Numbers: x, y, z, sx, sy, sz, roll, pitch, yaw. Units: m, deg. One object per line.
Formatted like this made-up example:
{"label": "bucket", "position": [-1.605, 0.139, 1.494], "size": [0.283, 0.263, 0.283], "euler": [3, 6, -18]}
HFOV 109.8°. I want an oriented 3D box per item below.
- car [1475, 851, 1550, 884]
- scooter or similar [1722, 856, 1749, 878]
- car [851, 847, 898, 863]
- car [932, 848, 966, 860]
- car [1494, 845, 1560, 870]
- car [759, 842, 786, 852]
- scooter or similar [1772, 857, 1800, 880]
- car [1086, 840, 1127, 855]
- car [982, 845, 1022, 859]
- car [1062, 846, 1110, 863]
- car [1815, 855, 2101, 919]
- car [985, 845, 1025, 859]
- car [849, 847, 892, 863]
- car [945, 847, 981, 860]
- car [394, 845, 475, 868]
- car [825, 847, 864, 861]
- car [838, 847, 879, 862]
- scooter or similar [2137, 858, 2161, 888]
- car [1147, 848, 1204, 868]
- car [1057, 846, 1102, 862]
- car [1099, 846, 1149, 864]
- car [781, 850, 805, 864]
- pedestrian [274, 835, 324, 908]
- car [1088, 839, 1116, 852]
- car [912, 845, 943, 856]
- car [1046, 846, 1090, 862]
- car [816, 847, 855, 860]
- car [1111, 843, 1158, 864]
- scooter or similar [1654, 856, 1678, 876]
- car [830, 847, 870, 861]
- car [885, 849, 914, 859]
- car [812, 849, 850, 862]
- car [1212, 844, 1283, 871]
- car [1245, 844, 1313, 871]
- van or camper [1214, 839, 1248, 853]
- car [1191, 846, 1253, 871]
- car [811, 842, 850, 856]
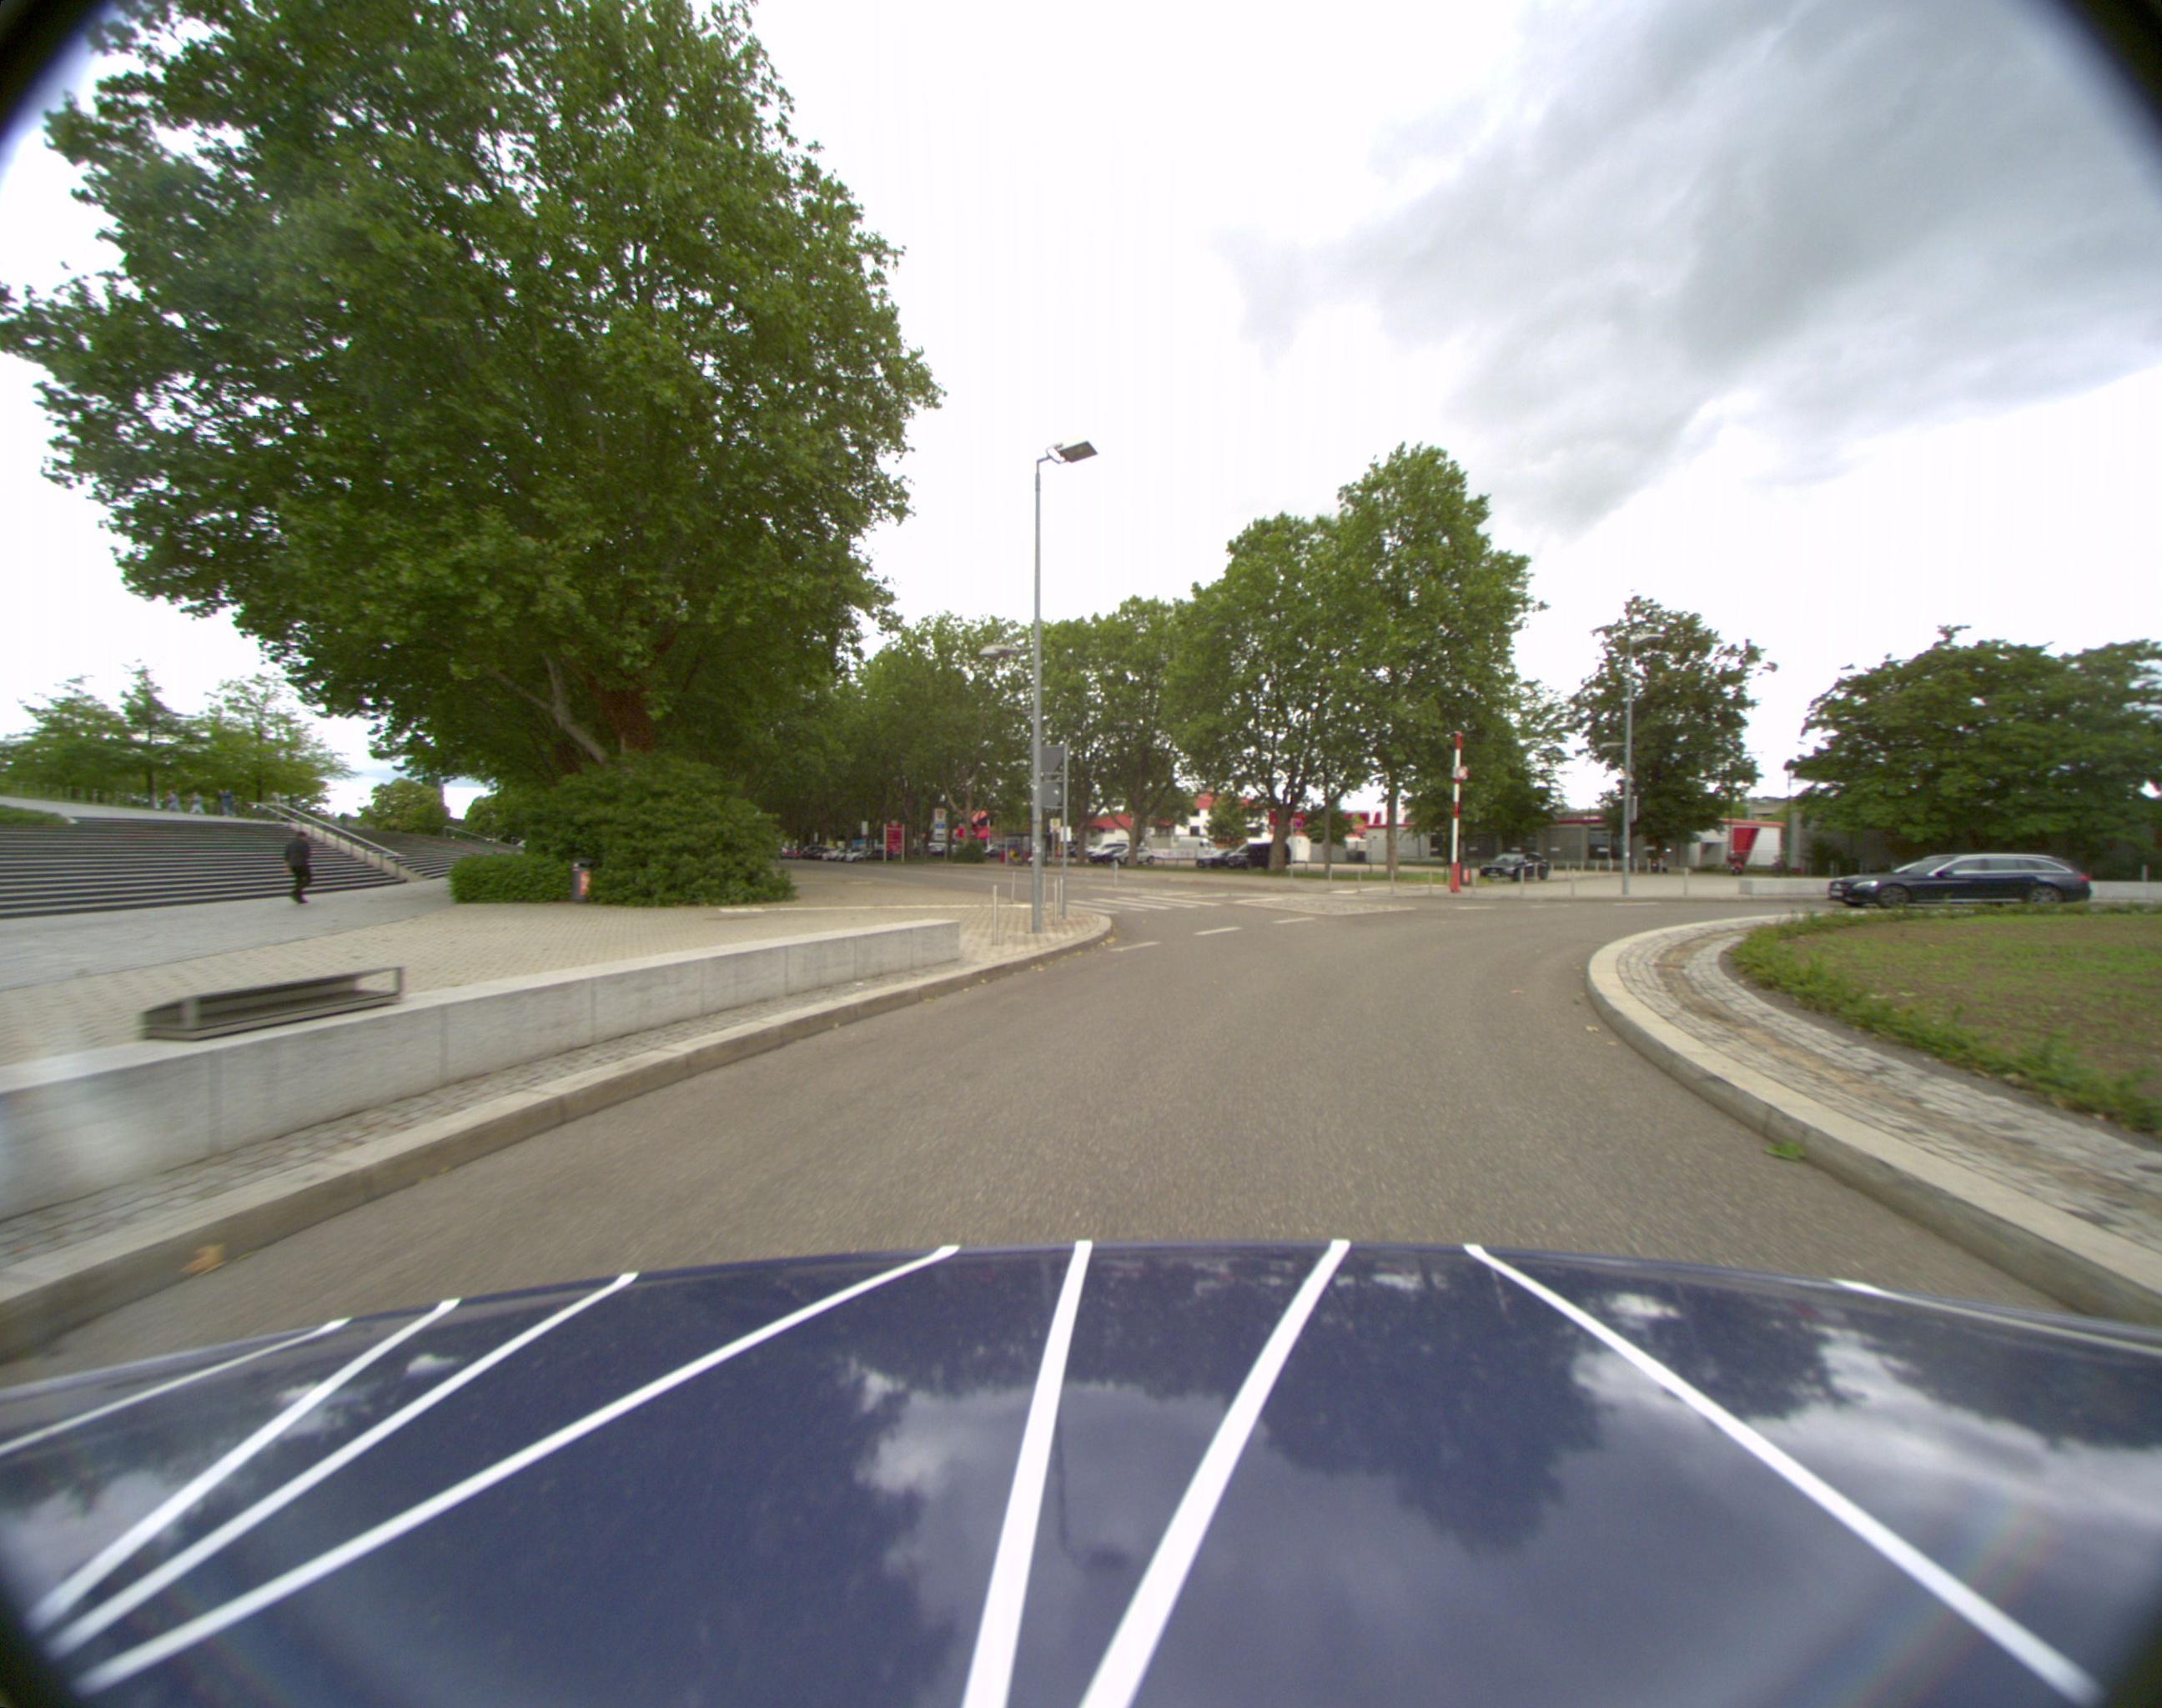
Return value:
{"label": "car", "position": [21.572, 0.648, 37.950], "size": [3.832, 1.516, 1.775], "euler": [-1, 1, -34]}
{"label": "scooter or similar", "position": [34.757, 0.699, 40.342], "size": [1.979, 1.103, 0.639], "euler": [-1, 1, -35]}
{"label": "car", "position": [-20.674, 0.099, 76.081], "size": [4.182, 1.510, 1.868], "euler": [-1, 1, -25]}
{"label": "car", "position": [-17.395, 0.032, 99.861], "size": [4.012, 1.510, 1.868], "euler": [-1, 1, -24]}
{"label": "car", "position": [30.955, 0.220, 52.893], "size": [1.796, 1.642, 4.435], "euler": [-1, 0, -4]}
{"label": "car", "position": [-49.693, -1.181, 122.449], "size": [4.012, 1.510, 1.868], "euler": [-1, 1, -25]}
{"label": "scooter or similar", "position": [35.713, 0.699, 38.487], "size": [1.979, 1.103, 0.639], "euler": [-1, 1, -35]}
{"label": "car", "position": [2.968, -0.736, 88.036], "size": [4.445, 1.642, 1.792], "euler": [-1, 1, -35]}
{"label": "car", "position": [-8.978, -0.258, 86.342], "size": [4.012, 1.510, 1.868], "euler": [-1, 1, -24]}
{"label": "car", "position": [0.463, 0.013, 70.256], "size": [4.012, 1.510, 1.868], "euler": [-1, 1, -26]}
{"label": "car", "position": [23.144, 0.825, 20.317], "size": [4.717, 1.555, 1.799], "euler": [-1, 1, 21]}
{"label": "car", "position": [-8.404, -0.221, 83.822], "size": [4.012, 1.510, 1.868], "euler": [-1, 1, -24]}
{"label": "car", "position": [-21.692, 0.081, 78.178], "size": [4.012, 1.510, 1.868], "euler": [-1, 1, -25]}
{"label": "car", "position": [-14.679, -0.091, 94.337], "size": [4.012, 1.510, 1.868], "euler": [-1, 1, -24]}
{"label": "car", "position": [-45.909, 0.147, 54.033], "size": [4.012, 1.510, 1.868], "euler": [-1, 1, -25]}
{"label": "car", "position": [-26.913, -0.032, 86.423], "size": [4.012, 1.510, 1.868], "euler": [-1, 1, -25]}
{"label": "car", "position": [-23.972, 0.036, 81.971], "size": [4.012, 1.510, 1.868], "euler": [-1, 1, -25]}
{"label": "scooter or similar", "position": [40.697, 0.700, 28.865], "size": [1.979, 1.098, 0.639], "euler": [-1, 1, -35]}
{"label": "car", "position": [7.344, 0.284, 58.943], "size": [4.012, 1.510, 1.868], "euler": [-1, 1, -26]}
{"label": "car", "position": [-0.148, -0.003, 73.723], "size": [4.012, 1.510, 1.868], "euler": [-1, 1, -26]}
{"label": "car", "position": [3.853, 0.078, 67.452], "size": [4.012, 1.510, 1.868], "euler": [-1, 1, -26]}
{"label": "car", "position": [-33.544, 0.329, 88.497], "size": [2.109, 1.510, 4.596], "euler": [-1, 1, -27]}
{"label": "pedestrian", "position": [-19.085, 0.409, 18.552], "size": [0.554, 1.751, 0.595], "euler": [-1, 1, 13]}
{"label": "car", "position": [2.881, -1.124, 105.143], "size": [1.800, 1.710, 3.946], "euler": [-1, 1, -35]}
{"label": "car", "position": [-21.414, -0.508, 105.931], "size": [4.012, 1.510, 1.868], "euler": [-1, 1, -24]}
{"label": "car", "position": [-1.337, -0.013, 76.771], "size": [4.012, 1.510, 1.868], "euler": [-1, 1, -26]}
{"label": "car", "position": [-28.438, -0.048, 88.082], "size": [4.012, 1.510, 1.868], "euler": [-1, 1, -25]}
{"label": "car", "position": [4.665, -0.057, 65.797], "size": [3.716, 1.767, 1.667], "euler": [-1, 1, -26]}
{"label": "scooter or similar", "position": [33.469, 0.686, 43.459], "size": [1.813, 1.088, 0.544], "euler": [-1, 1, -35]}
{"label": "car", "position": [-25.578, -0.019, 84.264], "size": [4.012, 1.510, 1.868], "euler": [-1, 1, -25]}
{"label": "car", "position": [-27.941, -0.005, 116.943], "size": [4.012, 1.510, 1.868], "euler": [-1, 1, -25]}
{"label": "car", "position": [-29.729, 0.146, 90.401], "size": [4.012, 1.510, 1.868], "euler": [-1, 1, -25]}
{"label": "car", "position": [11.625, 0.223, 52.918], "size": [4.821, 1.718, 2.007], "euler": [-1, 1, -34]}
{"label": "car", "position": [13.191, 0.216, 50.520], "size": [4.299, 1.718, 2.007], "euler": [-1, 1, -35]}
{"label": "van or camper", "position": [19.831, -1.103, 100.528], "size": [1.800, 1.778, 4.425], "euler": [-1, 1, -35]}
{"label": "car", "position": [10.260, 0.290, 55.150], "size": [4.299, 1.718, 2.007], "euler": [-1, 1, -35]}
{"label": "car", "position": [-31.581, -0.604, 95.775], "size": [4.444, 1.642, 1.792], "euler": [-1, 1, -30]}
